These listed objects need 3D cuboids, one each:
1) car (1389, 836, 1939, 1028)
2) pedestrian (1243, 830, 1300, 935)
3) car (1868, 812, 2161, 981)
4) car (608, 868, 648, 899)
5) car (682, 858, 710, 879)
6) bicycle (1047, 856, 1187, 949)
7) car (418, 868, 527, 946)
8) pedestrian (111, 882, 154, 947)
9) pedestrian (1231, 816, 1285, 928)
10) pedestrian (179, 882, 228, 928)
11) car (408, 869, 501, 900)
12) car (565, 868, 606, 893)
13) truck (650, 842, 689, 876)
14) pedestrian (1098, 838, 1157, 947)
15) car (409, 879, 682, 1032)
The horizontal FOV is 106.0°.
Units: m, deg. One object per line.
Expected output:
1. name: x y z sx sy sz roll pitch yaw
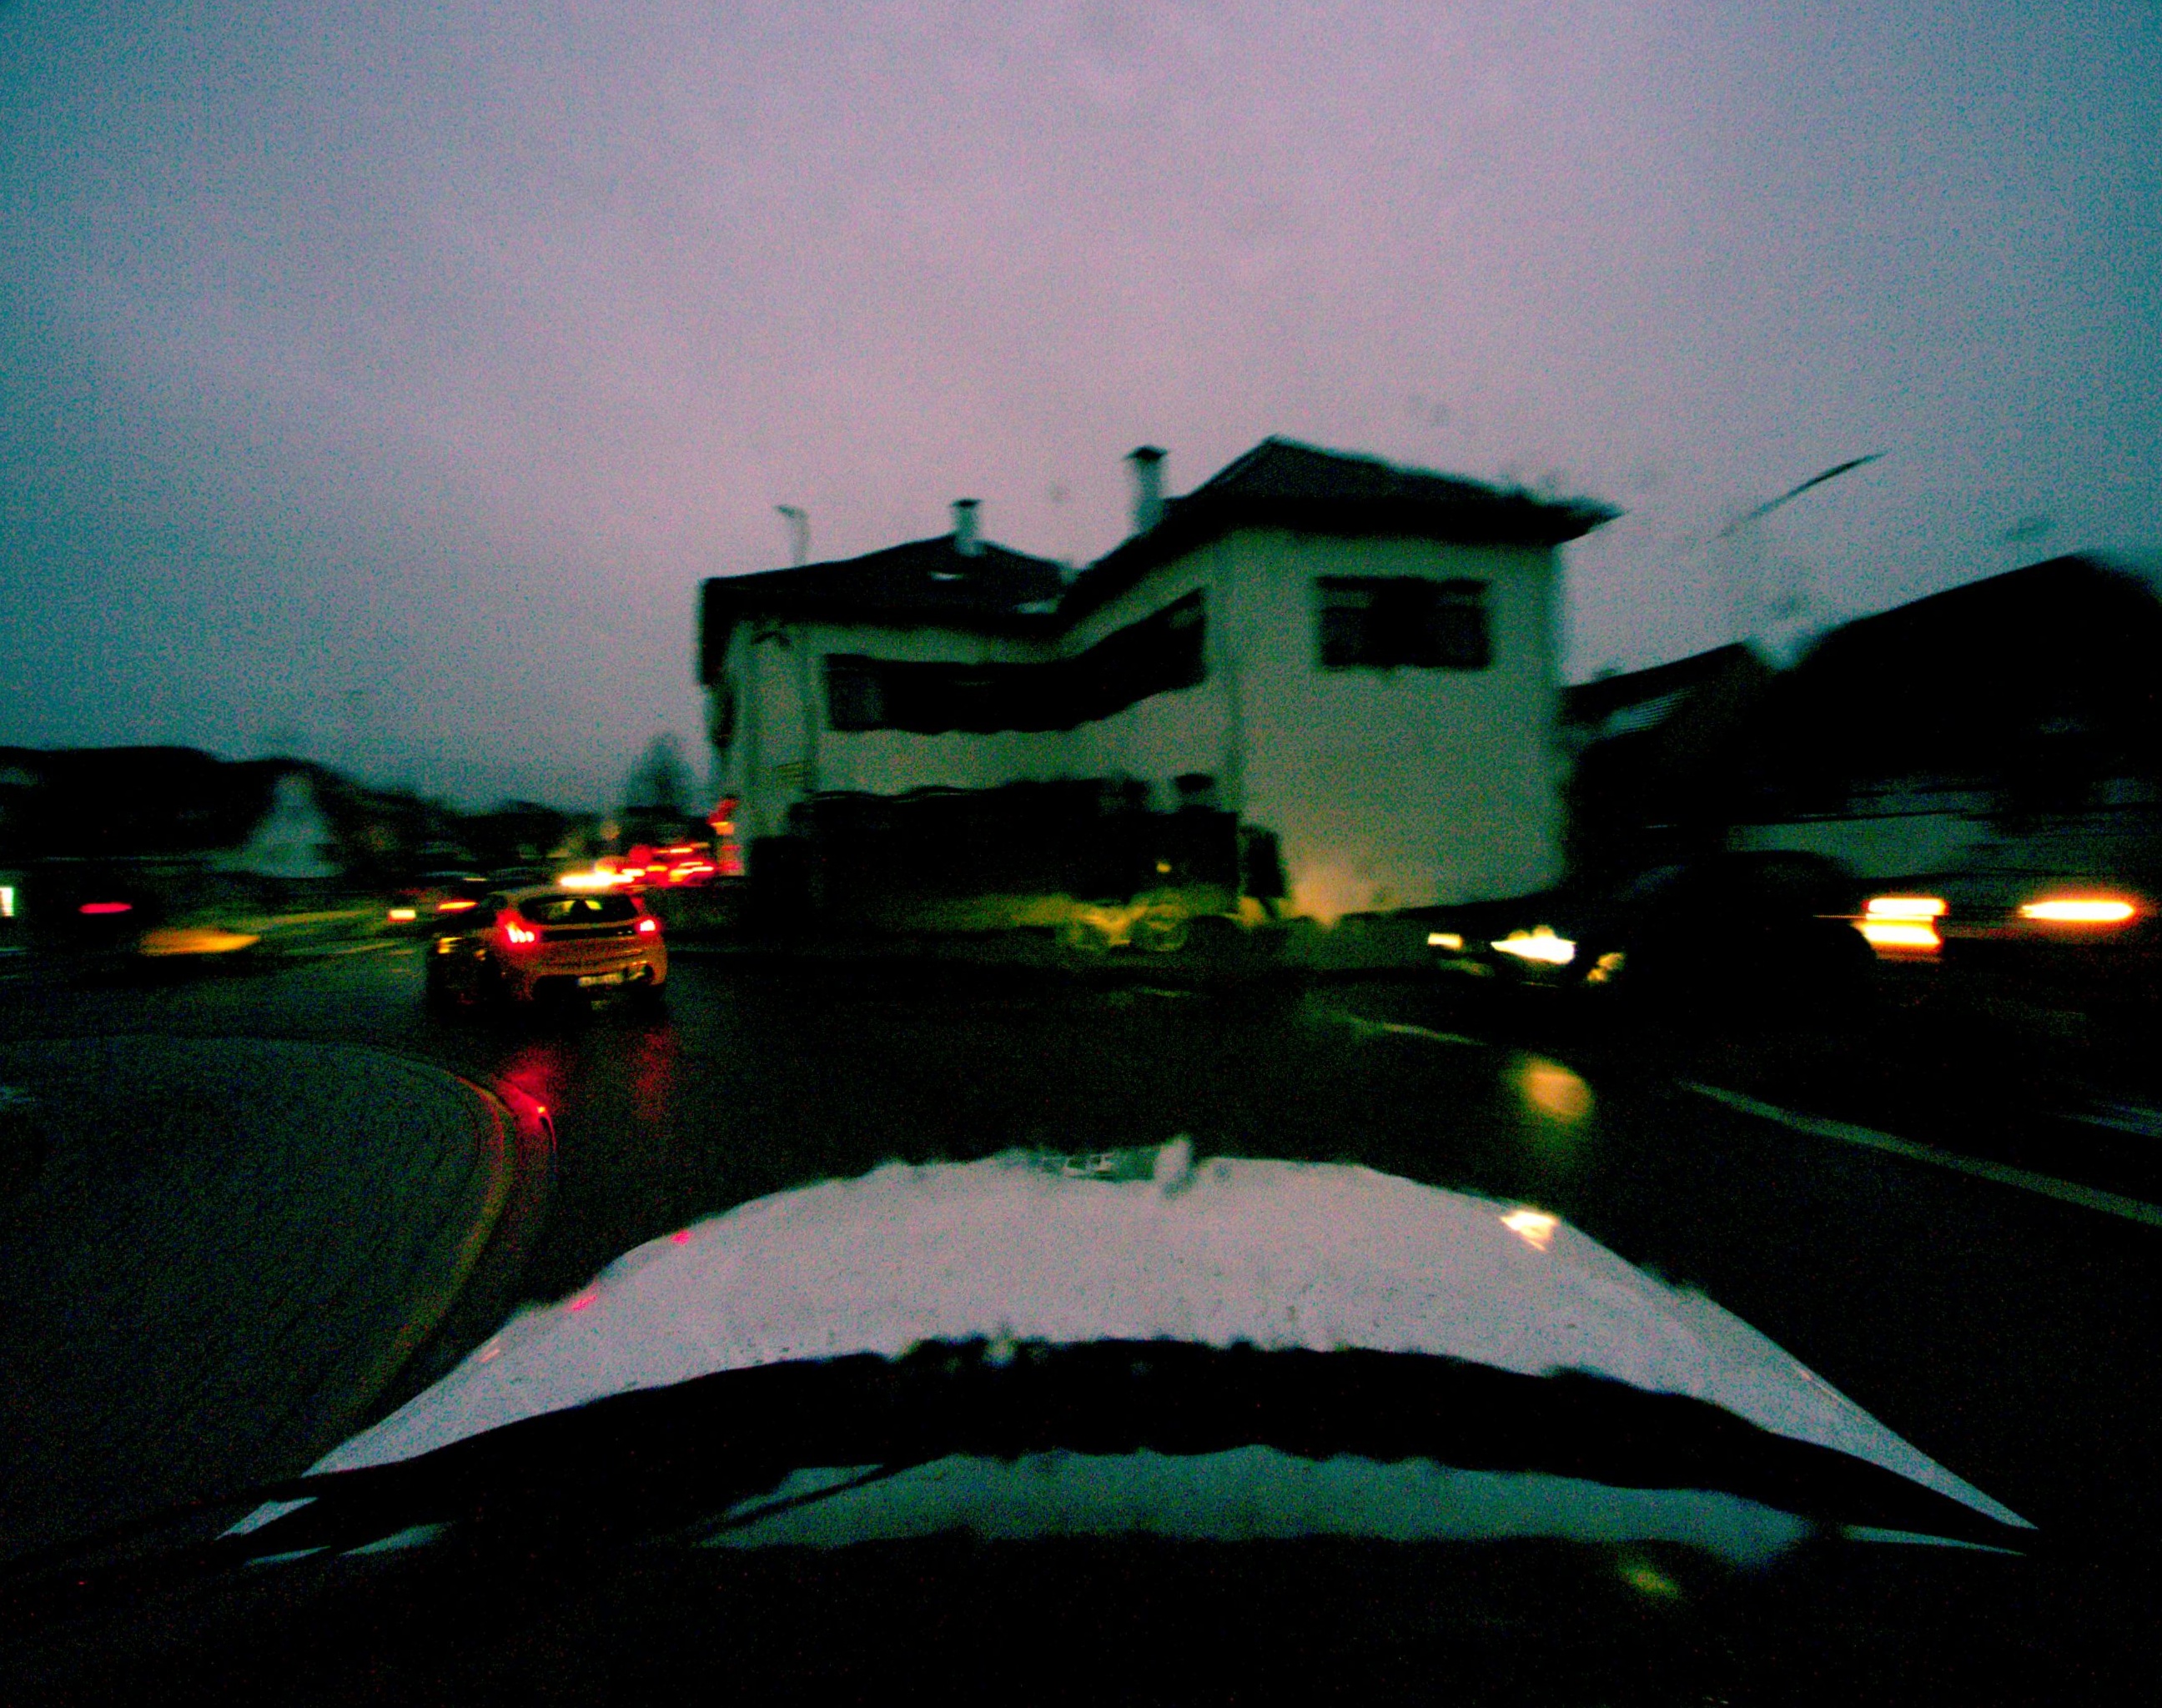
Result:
1. car: 5.411 0.641 7.808 4.222 1.384 1.844 -2 -2 -11
2. pedestrian: 3.029 0.444 13.008 0.713 1.621 0.582 -2 1 -1
3. car: 11.061 0.360 8.931 3.995 1.552 1.687 -2 -1 -16
4. car: -27.645 1.770 49.789 1.730 1.631 3.968 -3 1 -24
5. car: -30.307 1.129 64.214 1.697 1.467 3.691 -3 1 -22
6. bicycle: 0.534 0.715 12.007 1.921 1.295 0.554 -2 2 17
7. car: -15.066 1.218 20.361 1.930 1.615 3.908 -3 1 -34
8. pedestrian: -27.568 1.731 23.676 0.524 1.818 0.735 -2 1 44
9. pedestrian: 2.989 0.282 13.771 0.713 1.831 0.637 -2 2 -1
10. pedestrian: -27.321 1.580 25.369 0.787 1.348 0.711 -2 0 -23
11. car: -39.322 1.888 51.259 4.332 1.640 1.830 -3 1 -27
12. car: -33.561 1.770 55.250 1.748 1.568 4.030 -2 0 -23
13. truck: -39.169 0.462 77.686 2.726 3.010 5.948 -3 1 -22
14. pedestrian: 0.706 0.566 12.231 0.684 1.564 0.613 -2 2 18
15. car: -6.633 1.069 9.918 3.961 1.422 1.726 -2 0 41
